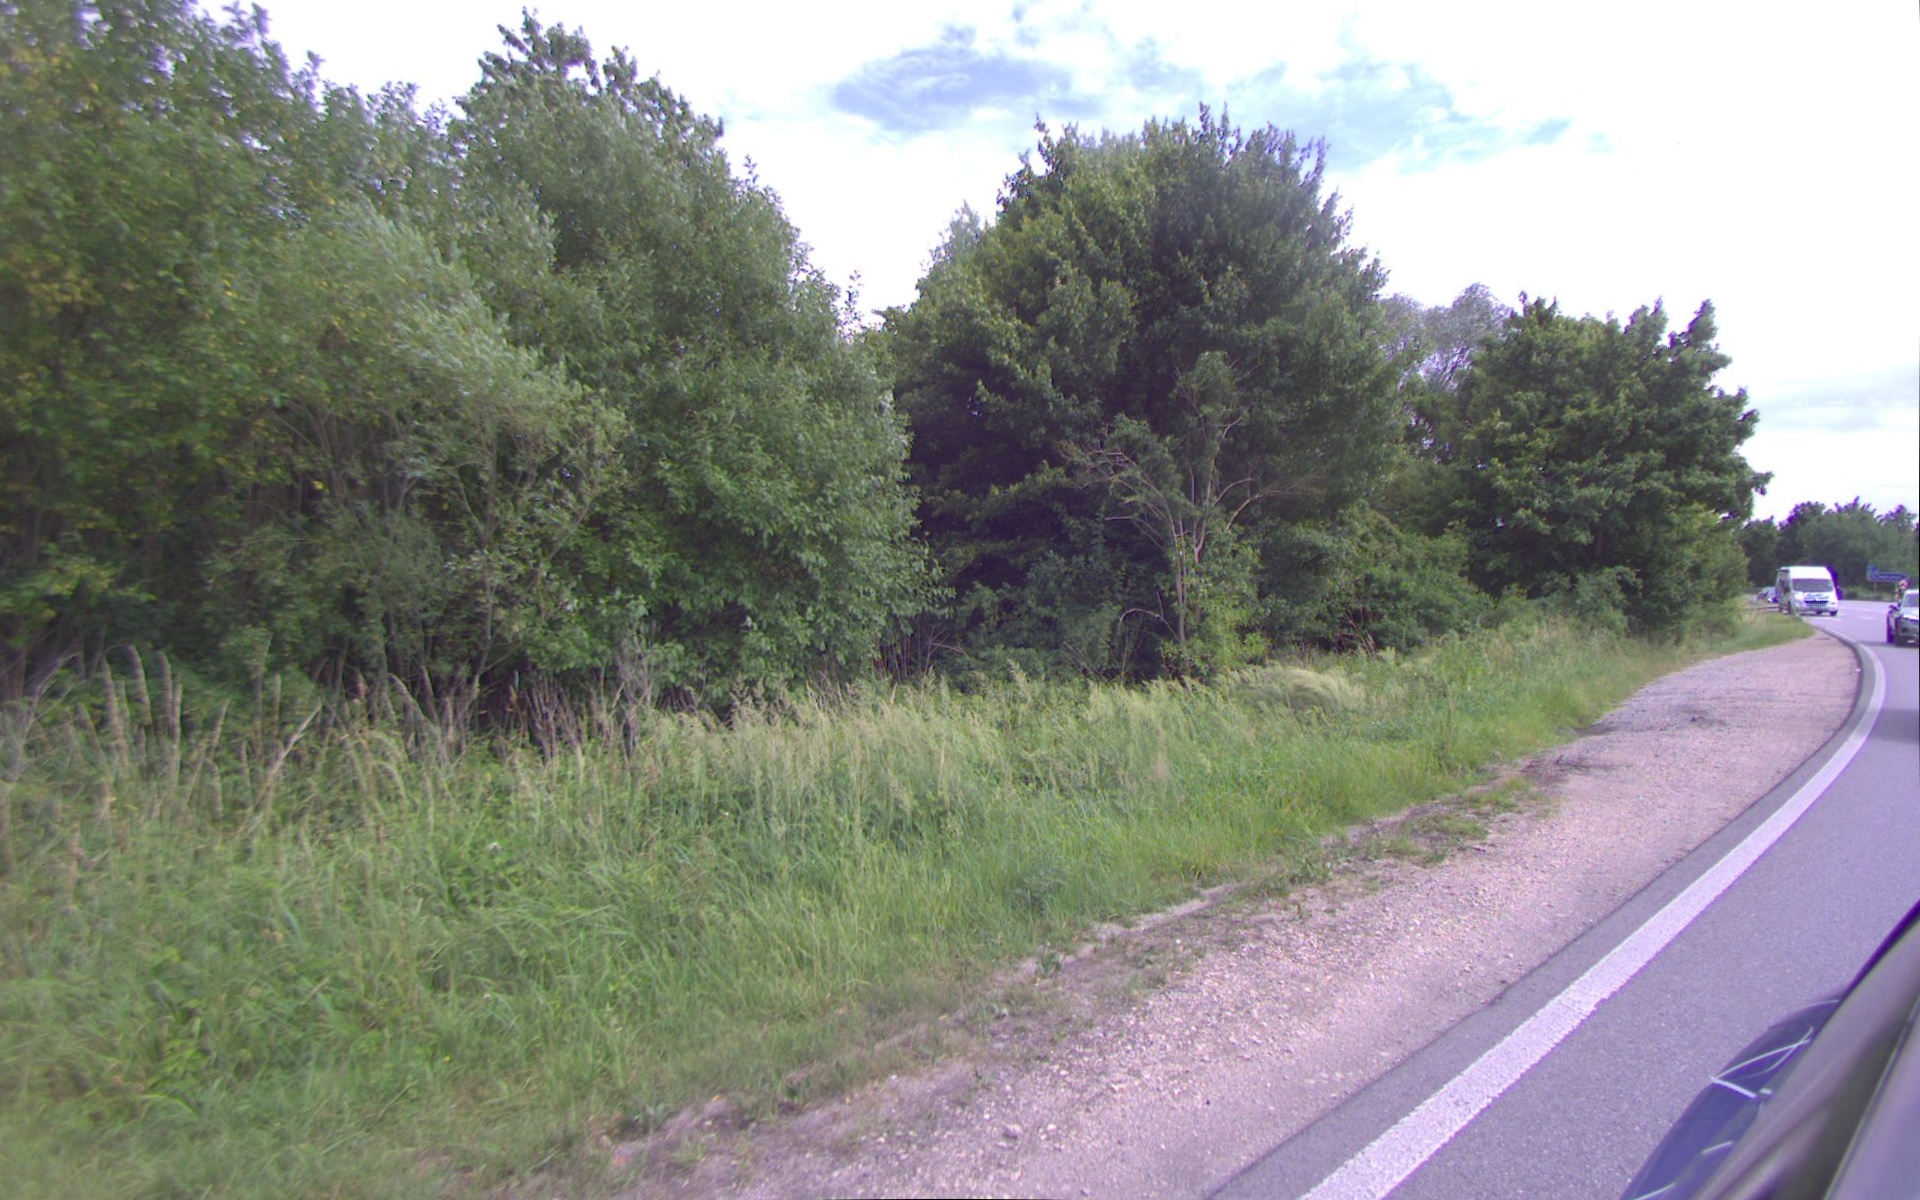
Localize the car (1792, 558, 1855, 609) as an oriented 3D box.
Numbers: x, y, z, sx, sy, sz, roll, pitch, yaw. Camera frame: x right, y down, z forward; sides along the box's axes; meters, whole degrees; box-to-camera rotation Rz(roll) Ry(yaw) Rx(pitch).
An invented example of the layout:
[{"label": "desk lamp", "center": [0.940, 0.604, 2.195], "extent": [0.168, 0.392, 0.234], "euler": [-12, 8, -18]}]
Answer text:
[{"label": "car", "center": [48.005, -0.866, 56.339], "extent": [2.207, 2.704, 5.170], "euler": [-1, -1, 36]}]

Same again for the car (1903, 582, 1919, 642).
[{"label": "car", "center": [28.503, 0.309, 28.899], "extent": [2.012, 1.633, 4.220], "euler": [0, 1, 39]}]
